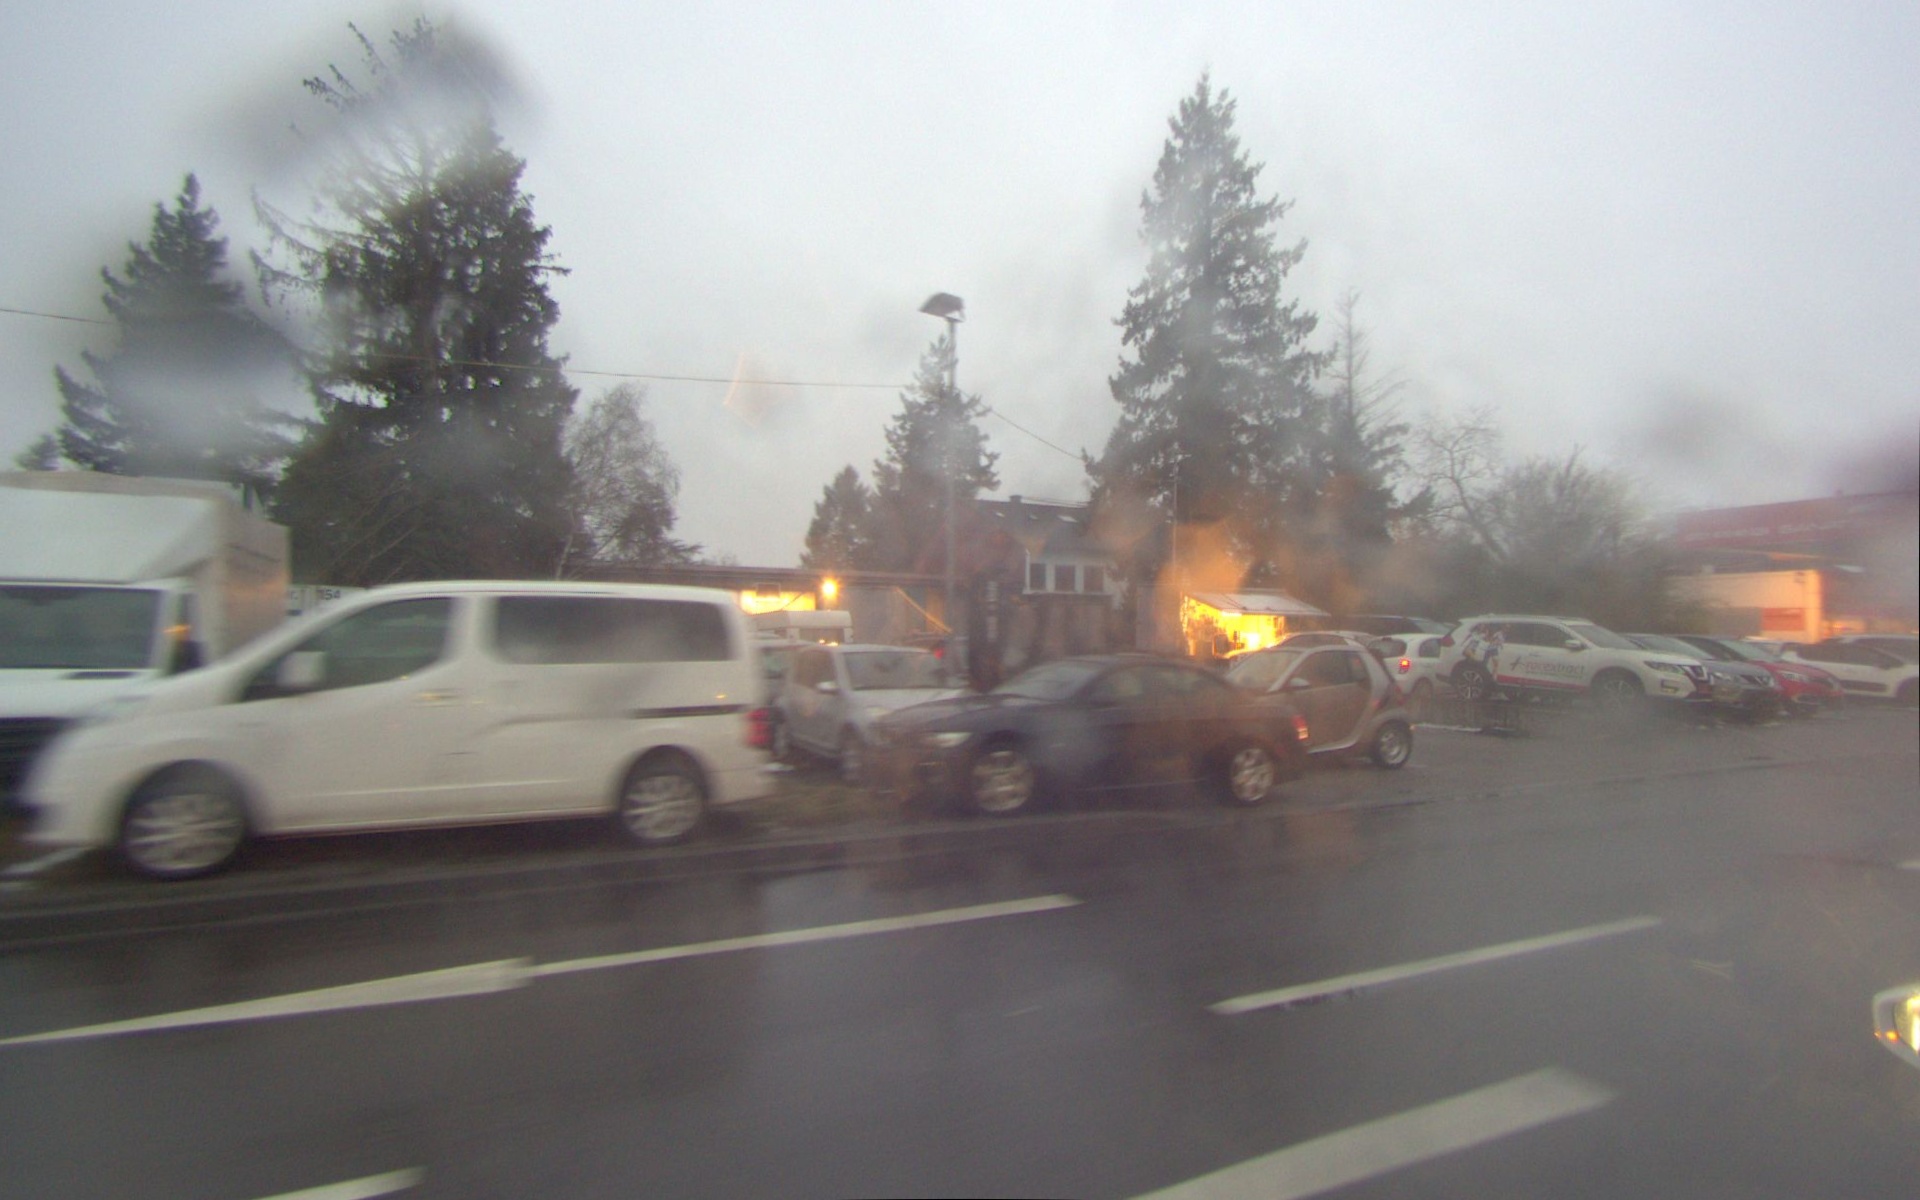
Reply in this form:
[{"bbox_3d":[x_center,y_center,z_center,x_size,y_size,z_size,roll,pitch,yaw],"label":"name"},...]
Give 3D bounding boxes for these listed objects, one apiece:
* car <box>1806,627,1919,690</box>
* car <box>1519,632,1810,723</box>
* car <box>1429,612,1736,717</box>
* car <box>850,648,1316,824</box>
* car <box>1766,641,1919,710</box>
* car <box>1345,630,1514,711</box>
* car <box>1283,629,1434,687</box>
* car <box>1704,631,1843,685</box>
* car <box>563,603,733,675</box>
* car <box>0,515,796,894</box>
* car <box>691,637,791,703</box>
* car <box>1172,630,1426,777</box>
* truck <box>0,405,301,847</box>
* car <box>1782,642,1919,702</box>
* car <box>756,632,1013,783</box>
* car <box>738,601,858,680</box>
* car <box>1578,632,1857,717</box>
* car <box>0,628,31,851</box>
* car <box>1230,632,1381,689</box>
[{"bbox_3d":[25.967,1.572,27.390,1.915,1.671,4.037,1,-2,-24],"label":"car"},{"bbox_3d":[13.602,1.415,19.722,1.966,1.518,4.326,1,-1,-23],"label":"car"},{"bbox_3d":[11.420,1.104,18.781,1.987,1.699,4.513,1,-2,-30],"label":"car"},{"bbox_3d":[1.231,1.187,9.368,4.205,1.338,1.564,3,-5,-29],"label":"car"},{"bbox_3d":[22.106,1.779,24.261,1.754,1.479,3.756,1,-1,-28],"label":"car"},{"bbox_3d":[10.700,1.556,22.846,3.661,1.698,1.662,1,-2,-29],"label":"car"},{"bbox_3d":[11.548,1.627,29.353,1.766,1.530,3.974,1,-1,-26],"label":"car"},{"bbox_3d":[24.708,1.735,30.522,3.819,1.509,1.828,1,0,-25],"label":"car"},{"bbox_3d":[-10.582,1.329,34.243,5.228,2.292,1.984,1,-2,-31],"label":"car"},{"bbox_3d":[-3.575,0.632,7.167,4.422,2.040,1.830,1,-2,-25],"label":"car"},{"bbox_3d":[-6.119,1.878,27.802,1.671,1.705,3.663,1,-3,-30],"label":"car"},{"bbox_3d":[4.172,1.217,12.416,2.825,1.666,1.171,1,-2,-18],"label":"car"},{"bbox_3d":[-8.570,0.270,10.244,2.304,3.183,6.834,1,-2,-27],"label":"truck"},{"bbox_3d":[23.734,1.819,25.652,1.816,1.363,3.845,1,-1,-26],"label":"car"},{"bbox_3d":[-1.090,1.233,12.157,1.786,1.496,3.899,1,-5,-26],"label":"car"},{"bbox_3d":[-5.224,1.260,31.993,2.243,2.311,4.206,1,-2,-33],"label":"car"},{"bbox_3d":[15.578,1.456,20.947,1.801,1.518,4.323,1,-1,-25],"label":"car"},{"bbox_3d":[-7.701,0.857,5.259,3.787,1.430,1.645,1,-2,-25],"label":"car"},{"bbox_3d":[9.167,1.589,26.901,3.549,1.402,1.676,0,-1,7],"label":"car"}]
